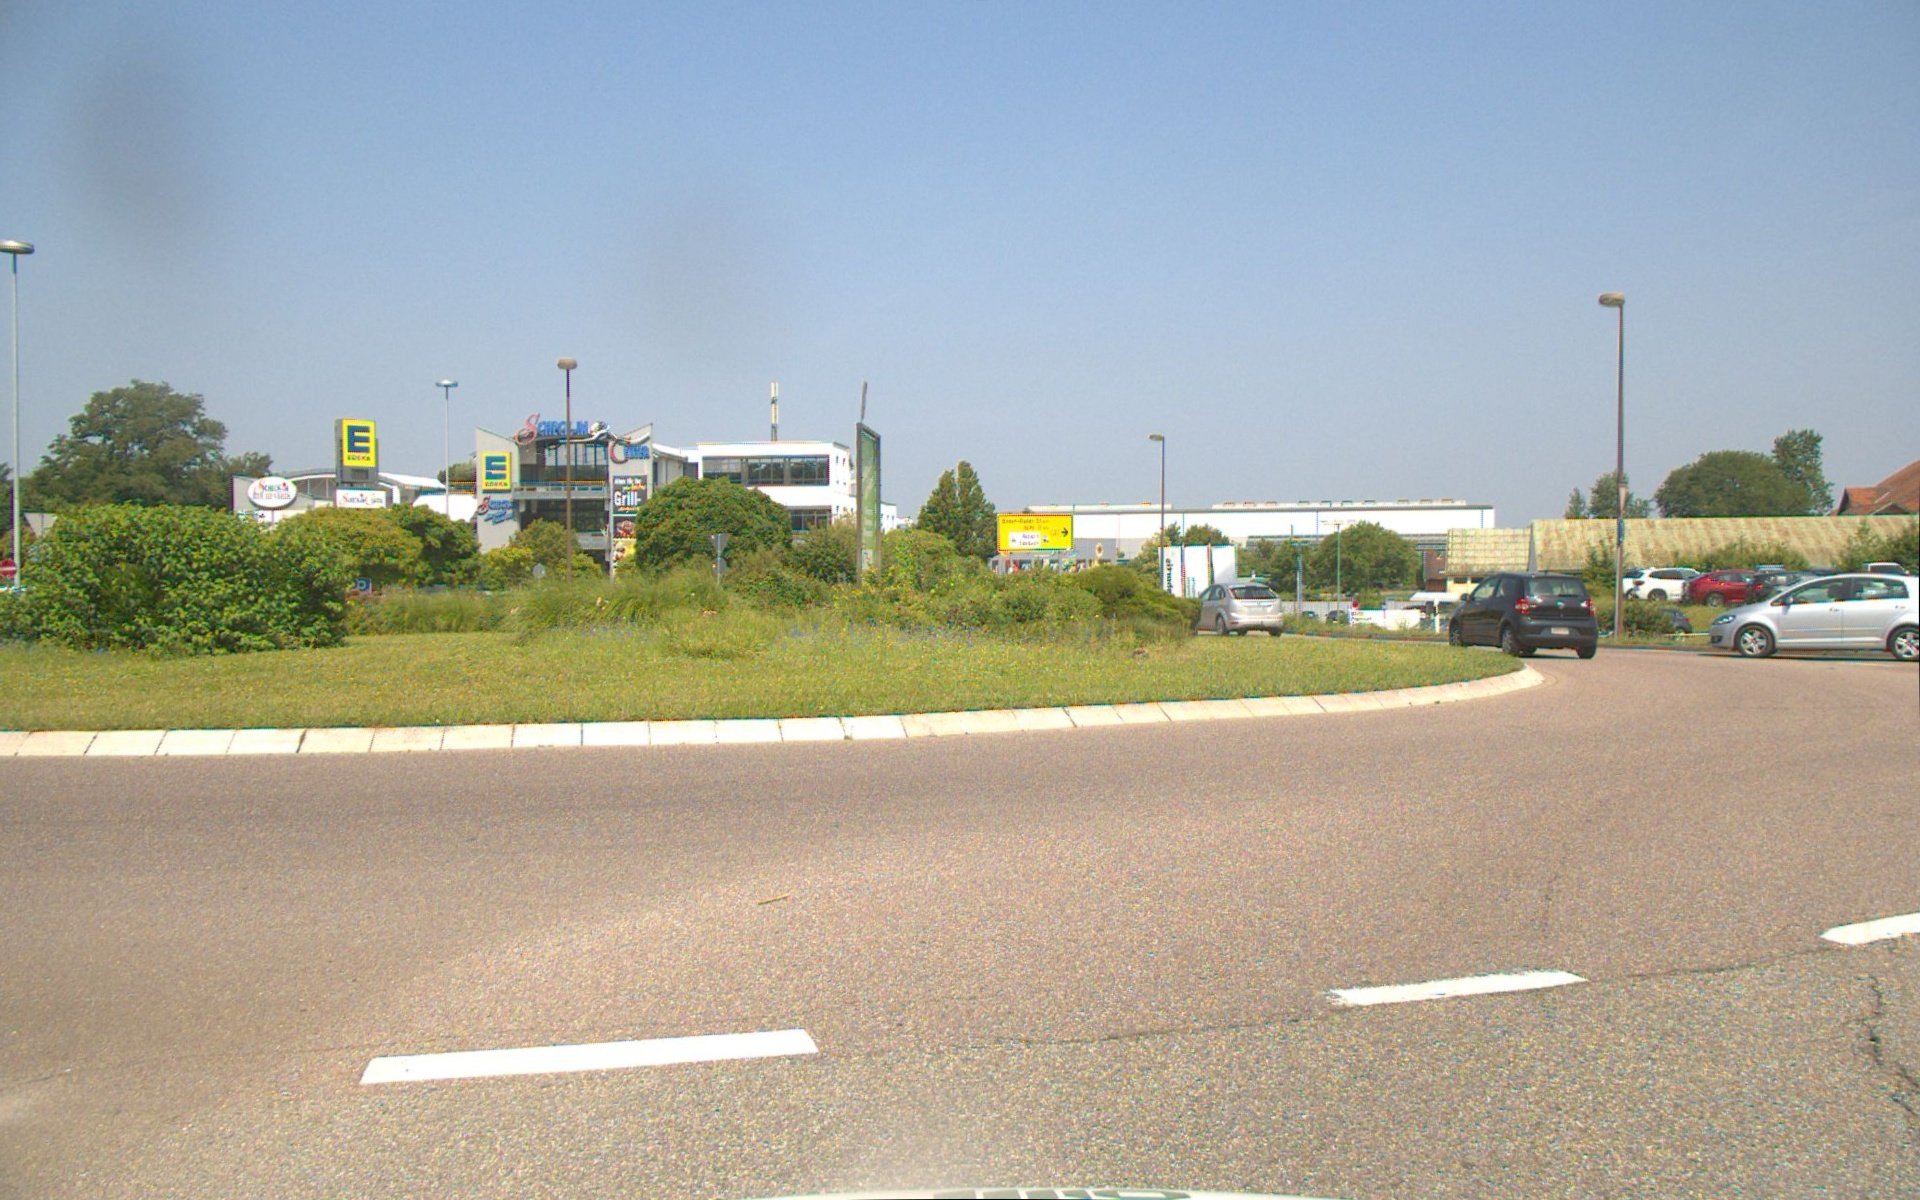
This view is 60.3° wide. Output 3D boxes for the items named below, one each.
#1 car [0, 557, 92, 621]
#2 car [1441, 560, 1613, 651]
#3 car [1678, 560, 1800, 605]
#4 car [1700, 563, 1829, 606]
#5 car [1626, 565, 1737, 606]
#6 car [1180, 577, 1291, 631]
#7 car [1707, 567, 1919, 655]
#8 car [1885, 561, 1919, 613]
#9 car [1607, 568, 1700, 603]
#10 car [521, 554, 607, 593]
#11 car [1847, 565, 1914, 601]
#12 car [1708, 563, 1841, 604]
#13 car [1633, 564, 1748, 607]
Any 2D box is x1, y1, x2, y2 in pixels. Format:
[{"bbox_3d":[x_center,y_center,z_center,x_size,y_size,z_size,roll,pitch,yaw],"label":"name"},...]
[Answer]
[{"bbox_3d":[-30.799,-0.351,54.696,1.652,2.049,4.003,1,0,7],"label":"car"},{"bbox_3d":[10.421,0.105,30.697,1.743,1.557,3.999,1,0,-1],"label":"car"},{"bbox_3d":[32.763,-0.725,69.688,4.358,1.777,1.951,-1,0,15],"label":"car"},{"bbox_3d":[32.603,-0.637,67.146,4.358,1.663,1.951,-1,0,15],"label":"car"},{"bbox_3d":[32.654,-0.663,74.946,4.358,1.777,1.840,-1,0,15],"label":"car"},{"bbox_3d":[7.599,0.112,46.030,1.747,1.431,4.075,1,0,-11],"label":"car"},{"bbox_3d":[16.340,0.192,31.130,3.997,1.557,1.781,1,0,30],"label":"car"},{"bbox_3d":[31.757,-0.461,52.386,4.494,1.598,1.759,-1,-1,-19],"label":"car"},{"bbox_3d":[32.471,-0.659,77.495,3.792,1.559,1.770,-1,0,15],"label":"car"},{"bbox_3d":[-17.060,-1.117,71.242,3.242,1.601,1.557,0,-1,16],"label":"car"},{"bbox_3d":[43.007,-0.792,77.352,1.876,1.624,4.307,-1,0,17],"label":"car"},{"bbox_3d":[31.938,-0.652,64.970,4.358,1.526,1.951,-1,1,15],"label":"car"},{"bbox_3d":[32.075,-0.641,72.708,4.358,1.777,1.840,-1,0,15],"label":"car"}]
